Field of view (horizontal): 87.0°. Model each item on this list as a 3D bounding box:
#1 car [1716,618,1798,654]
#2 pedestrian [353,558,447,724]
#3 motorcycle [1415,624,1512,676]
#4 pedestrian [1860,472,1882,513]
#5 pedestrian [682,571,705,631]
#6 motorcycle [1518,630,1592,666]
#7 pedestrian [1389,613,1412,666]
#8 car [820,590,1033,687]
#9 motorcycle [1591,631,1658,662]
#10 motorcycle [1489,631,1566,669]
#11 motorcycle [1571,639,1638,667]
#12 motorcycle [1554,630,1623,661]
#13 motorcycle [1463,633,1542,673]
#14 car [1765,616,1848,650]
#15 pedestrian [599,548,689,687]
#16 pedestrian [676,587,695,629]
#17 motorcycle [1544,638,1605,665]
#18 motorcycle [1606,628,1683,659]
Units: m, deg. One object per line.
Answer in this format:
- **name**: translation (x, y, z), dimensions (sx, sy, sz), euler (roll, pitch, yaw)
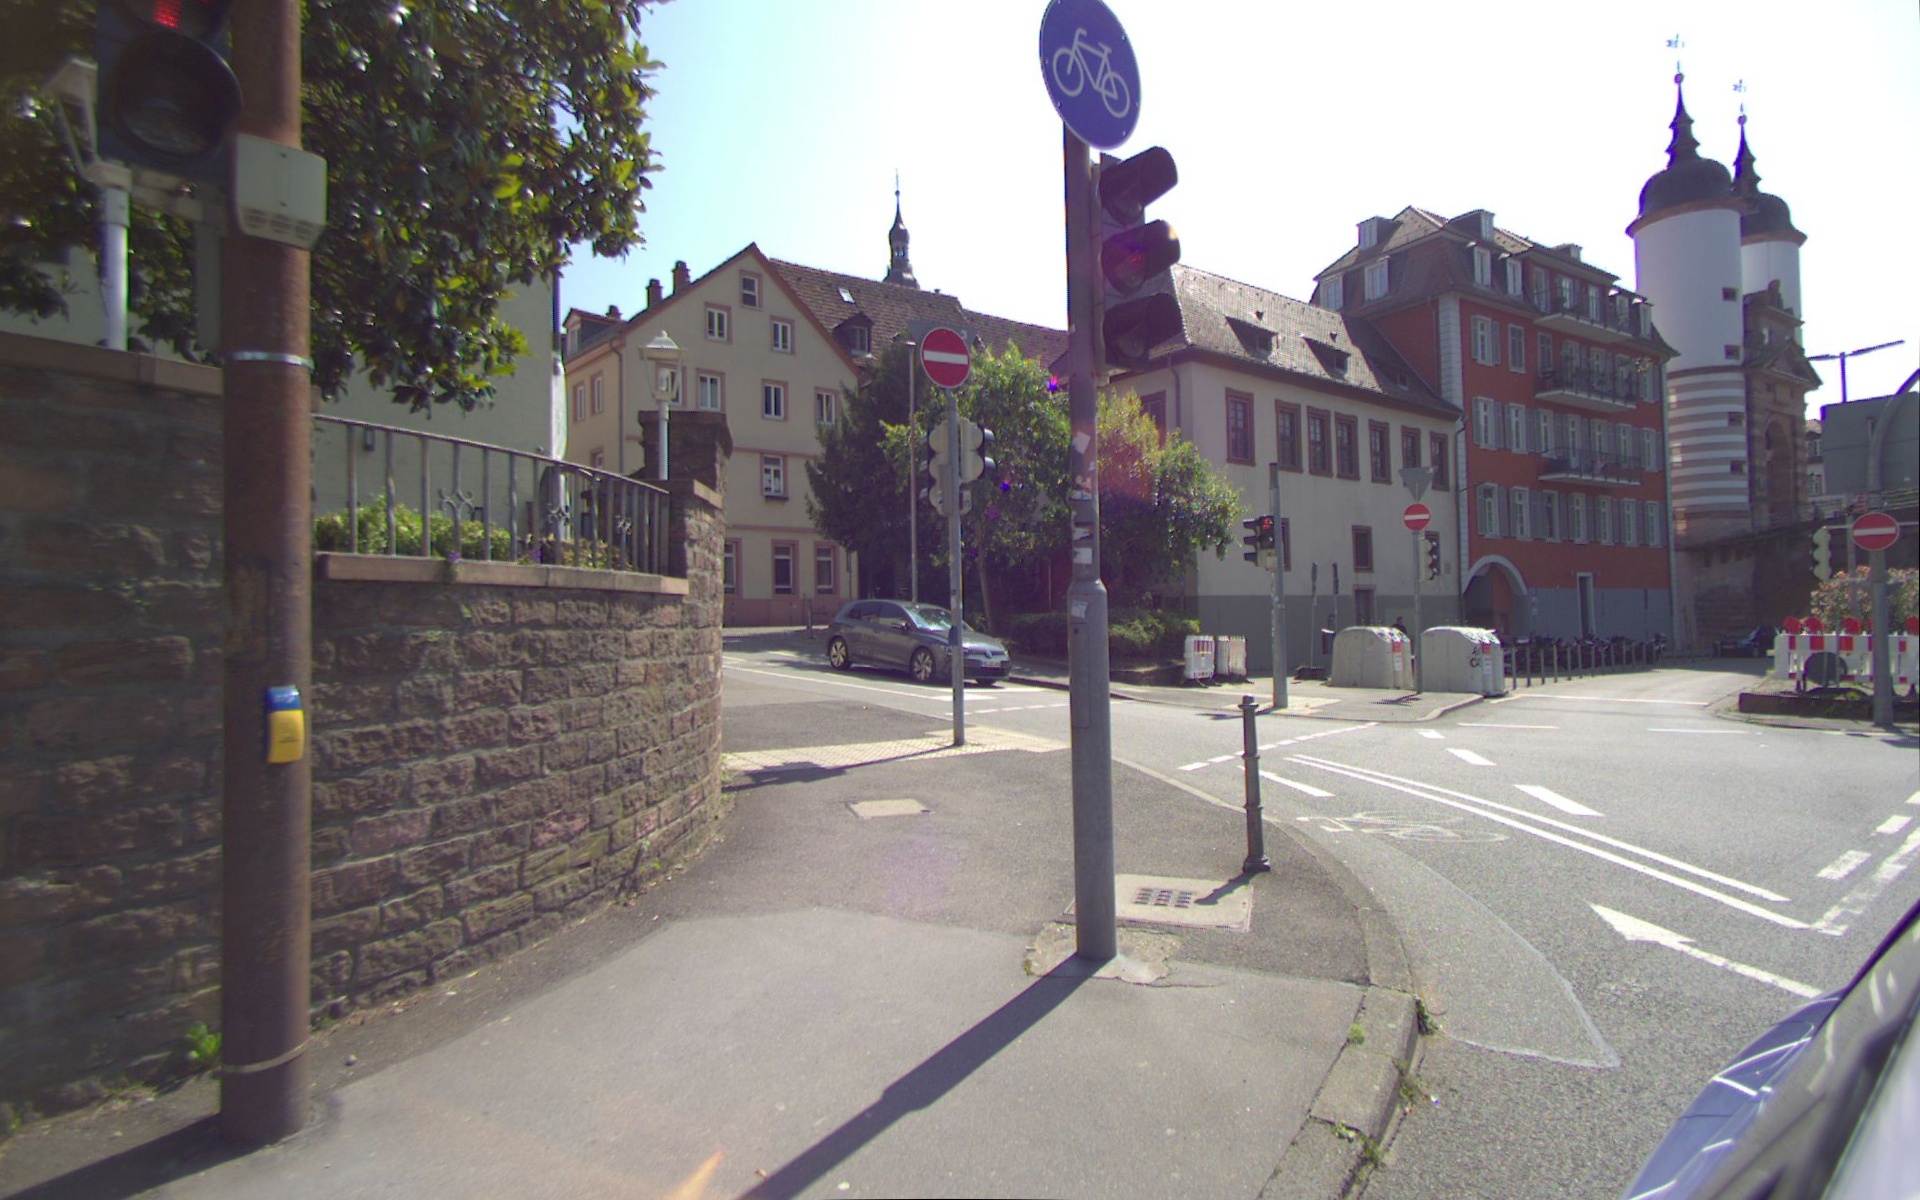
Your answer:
- **car**: translation (38.138, 1.712, 48.414), dimensions (3.733, 1.562, 1.678), euler (-1, -2, -28)
- **pedestrian**: translation (-6.052, 0.430, 10.975), dimensions (0.710, 1.727, 0.709), euler (0, -1, -13)
- **motorcycle**: translation (15.501, 1.533, 31.234), dimensions (2.462, 1.552, 1.048), euler (-1, -1, 16)
- **pedestrian**: translation (46.338, -5.459, 51.487), dimensions (0.693, 2.039, 0.640), euler (-1, 0, -34)
- **pedestrian**: translation (-8.155, 0.037, 30.947), dimensions (0.427, 1.809, 0.486), euler (2, 2, -39)
- **motorcycle**: translation (21.548, 1.725, 36.676), dimensions (2.154, 1.283, 0.778), euler (-1, -1, 18)
- **pedestrian**: translation (15.691, 1.389, 36.011), dimensions (0.608, 1.846, 0.495), euler (-1, 0, -40)
- **car**: translation (-0.727, 0.689, 19.292), dimensions (1.828, 1.505, 3.993), euler (6, -2, -42)
- **motorcycle**: translation (27.319, 1.914, 41.647), dimensions (2.120, 1.249, 0.839), euler (-1, -2, 13)
- **motorcycle**: translation (19.290, 1.695, 34.435), dimensions (2.169, 1.283, 0.624), euler (-1, -1, 18)
- **motorcycle**: translation (25.861, 2.137, 40.616), dimensions (2.162, 1.090, 0.626), euler (-1, -1, 10)
- **motorcycle**: translation (24.689, 1.786, 39.779), dimensions (2.162, 1.162, 0.626), euler (-1, -1, 10)
- **motorcycle**: translation (17.892, 1.746, 33.422), dimensions (2.207, 1.268, 0.624), euler (-1, -1, 18)
- **car**: translation (42.406, 1.629, 50.679), dimensions (4.329, 1.511, 1.900), euler (-1, 0, -32)
- **pedestrian**: translation (-4.333, 0.219, 13.854), dimensions (0.848, 1.815, 0.926), euler (2, 1, -38)
- **pedestrian**: translation (-8.492, 0.251, 31.333), dimensions (0.435, 1.293, 0.333), euler (2, 1, -39)
- **motorcycle**: translation (23.491, 1.951, 38.698), dimensions (1.900, 0.999, 0.546), euler (-1, -1, 10)
- **motorcycle**: translation (28.809, 1.831, 42.624), dimensions (2.505, 1.249, 0.839), euler (-1, -2, 13)
